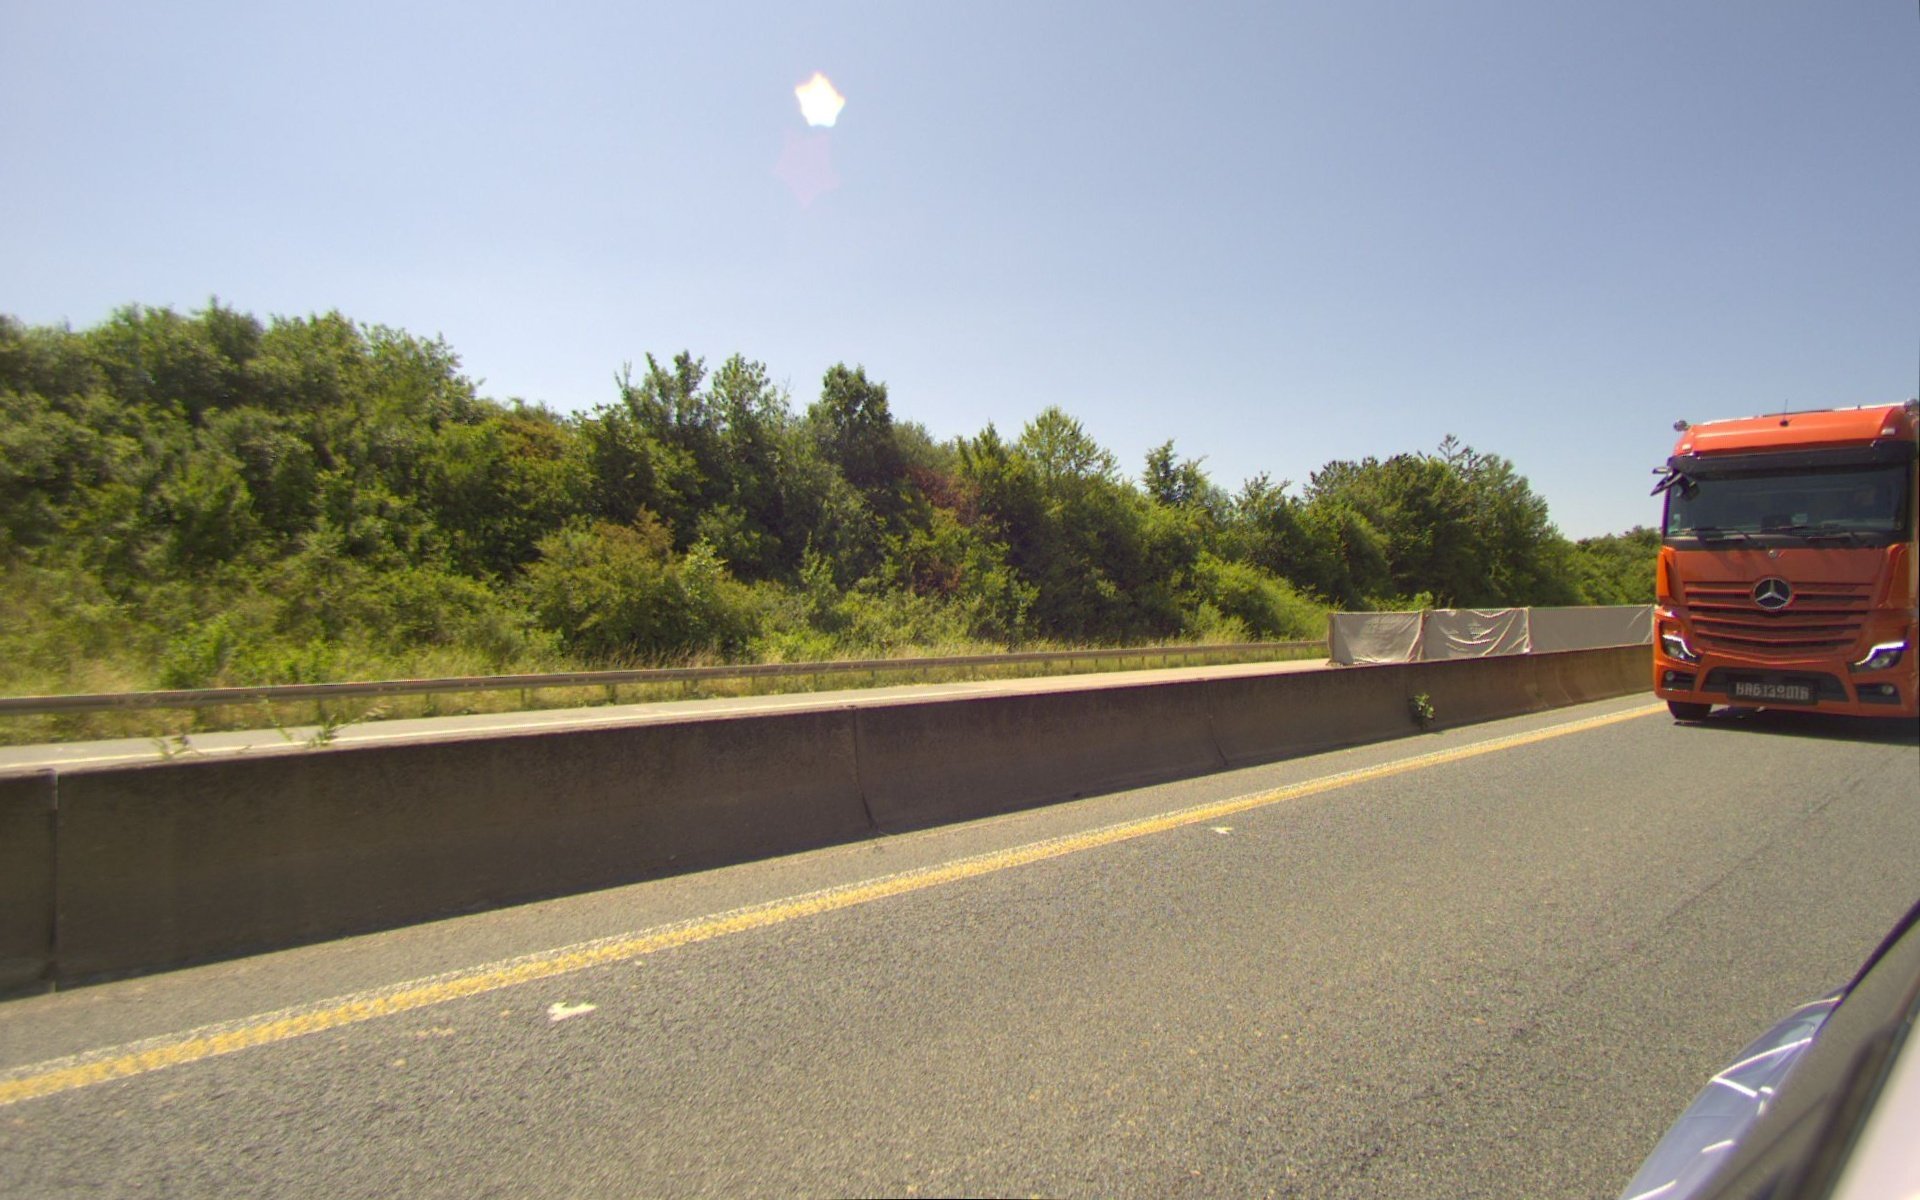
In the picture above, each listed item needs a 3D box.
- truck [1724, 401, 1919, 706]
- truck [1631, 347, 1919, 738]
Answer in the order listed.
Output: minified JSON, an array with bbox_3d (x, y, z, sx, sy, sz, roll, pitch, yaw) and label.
[{"bbox_3d":[17.189,-0.666,18.387,12.989,4.061,2.686,-1,0,-41],"label":"truck"},{"bbox_3d":[11.700,-0.613,13.620,6.607,4.061,2.687,0,0,-40],"label":"truck"}]
